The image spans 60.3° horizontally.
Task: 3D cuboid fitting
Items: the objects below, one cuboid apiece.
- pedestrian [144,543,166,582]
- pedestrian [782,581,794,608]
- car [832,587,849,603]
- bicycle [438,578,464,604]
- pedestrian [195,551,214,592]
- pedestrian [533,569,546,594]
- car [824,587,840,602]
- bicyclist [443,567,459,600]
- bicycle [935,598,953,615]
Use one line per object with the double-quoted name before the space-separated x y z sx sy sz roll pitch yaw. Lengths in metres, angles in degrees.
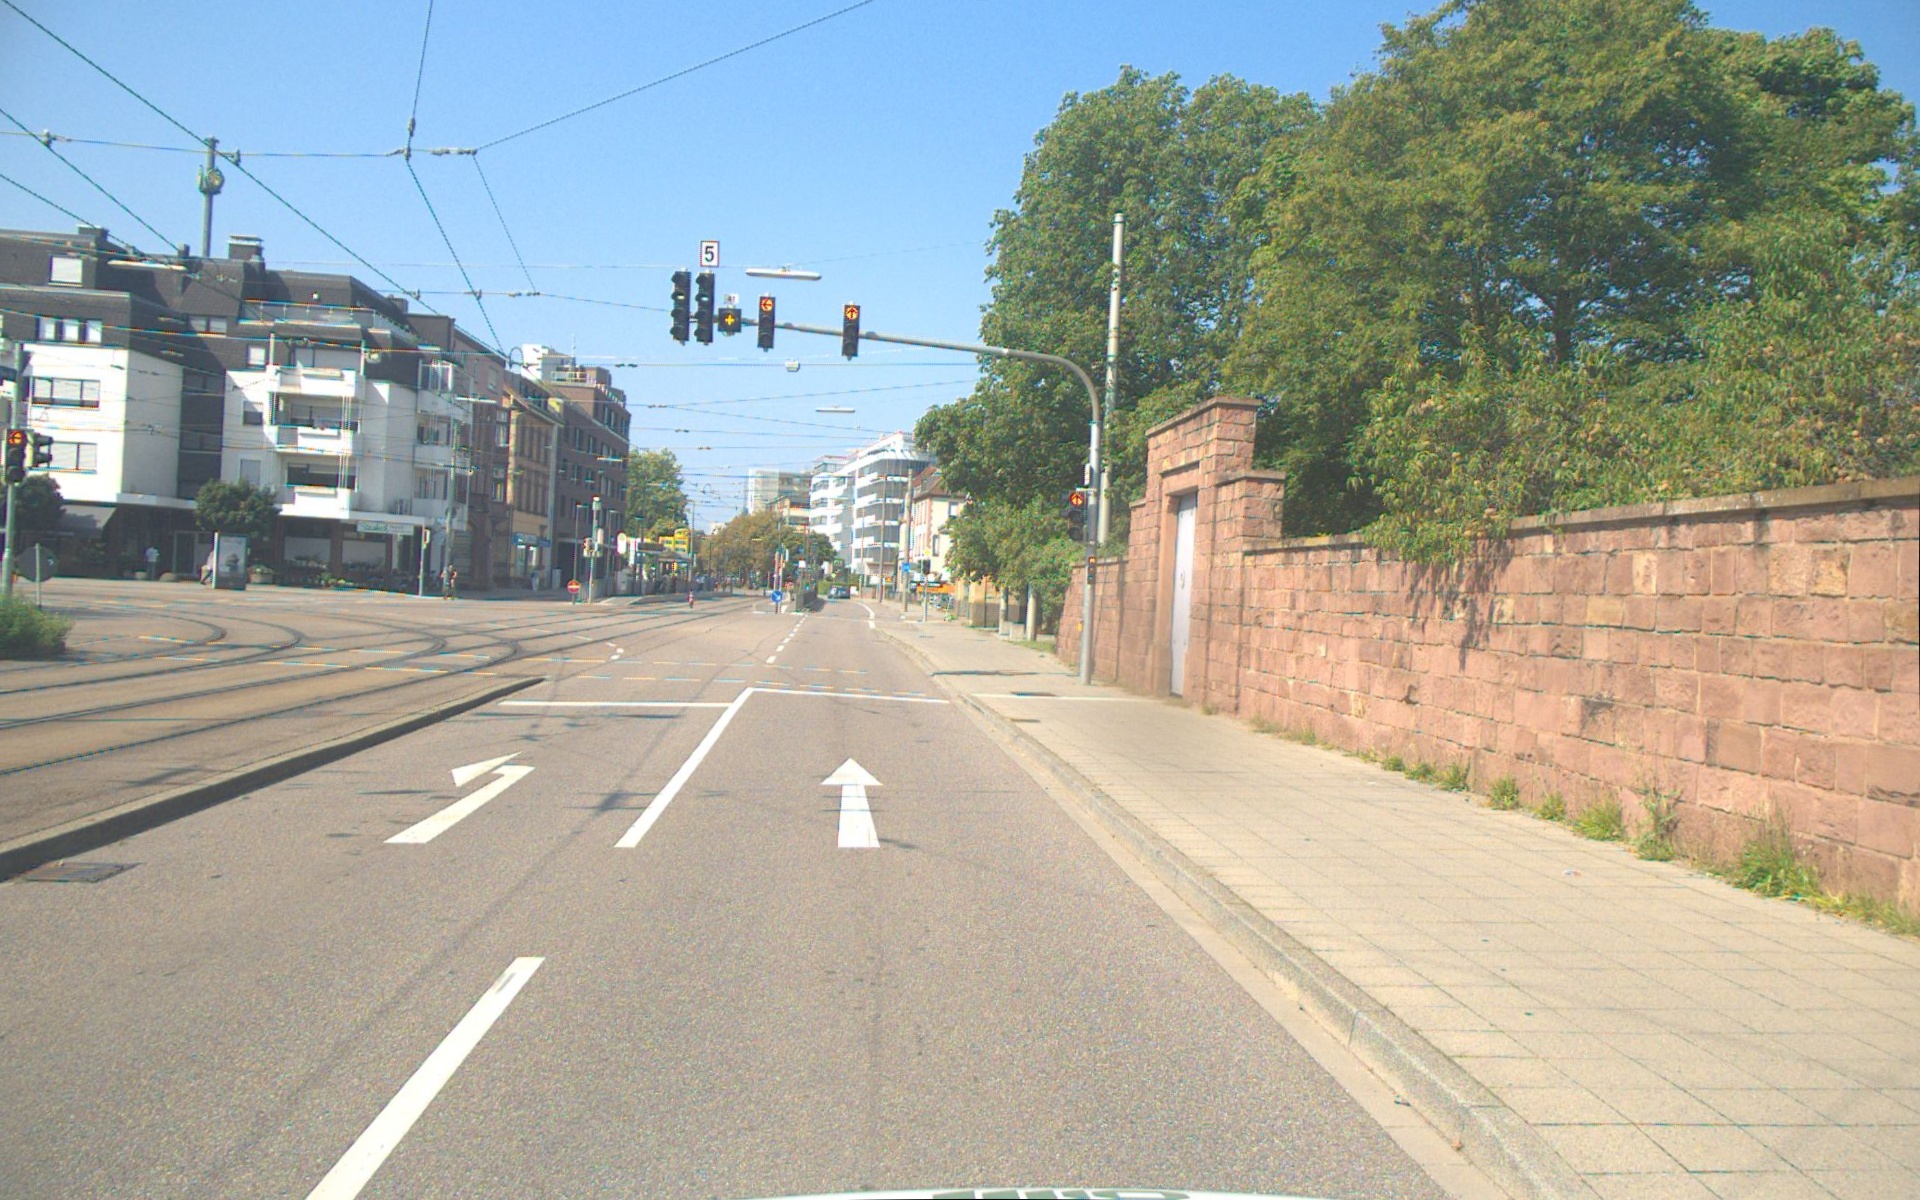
"pedestrian" -36.561 -1.701 75.121 0.666 1.771 0.697 1 0 -3
"pedestrian" -11.211 -0.361 107.567 0.705 1.733 0.883 1 0 -3
"car" -14.660 -0.595 203.618 1.971 1.891 3.998 1 0 -3
"bicycle" -23.866 -0.424 77.562 0.563 1.200 2.207 1 0 -2
"pedestrian" -32.913 -1.225 72.070 0.594 1.776 0.558 1 0 -38
"pedestrian" -28.665 -1.264 112.749 0.473 1.587 0.887 4 -1 7
"car" -16.230 -0.705 209.673 1.971 1.891 3.998 1 0 -3
"bicyclist" -23.854 -0.762 77.476 0.557 1.549 0.489 1 0 -3
"bicycle" -1.141 0.423 115.042 0.718 1.152 2.832 -1 0 -11
